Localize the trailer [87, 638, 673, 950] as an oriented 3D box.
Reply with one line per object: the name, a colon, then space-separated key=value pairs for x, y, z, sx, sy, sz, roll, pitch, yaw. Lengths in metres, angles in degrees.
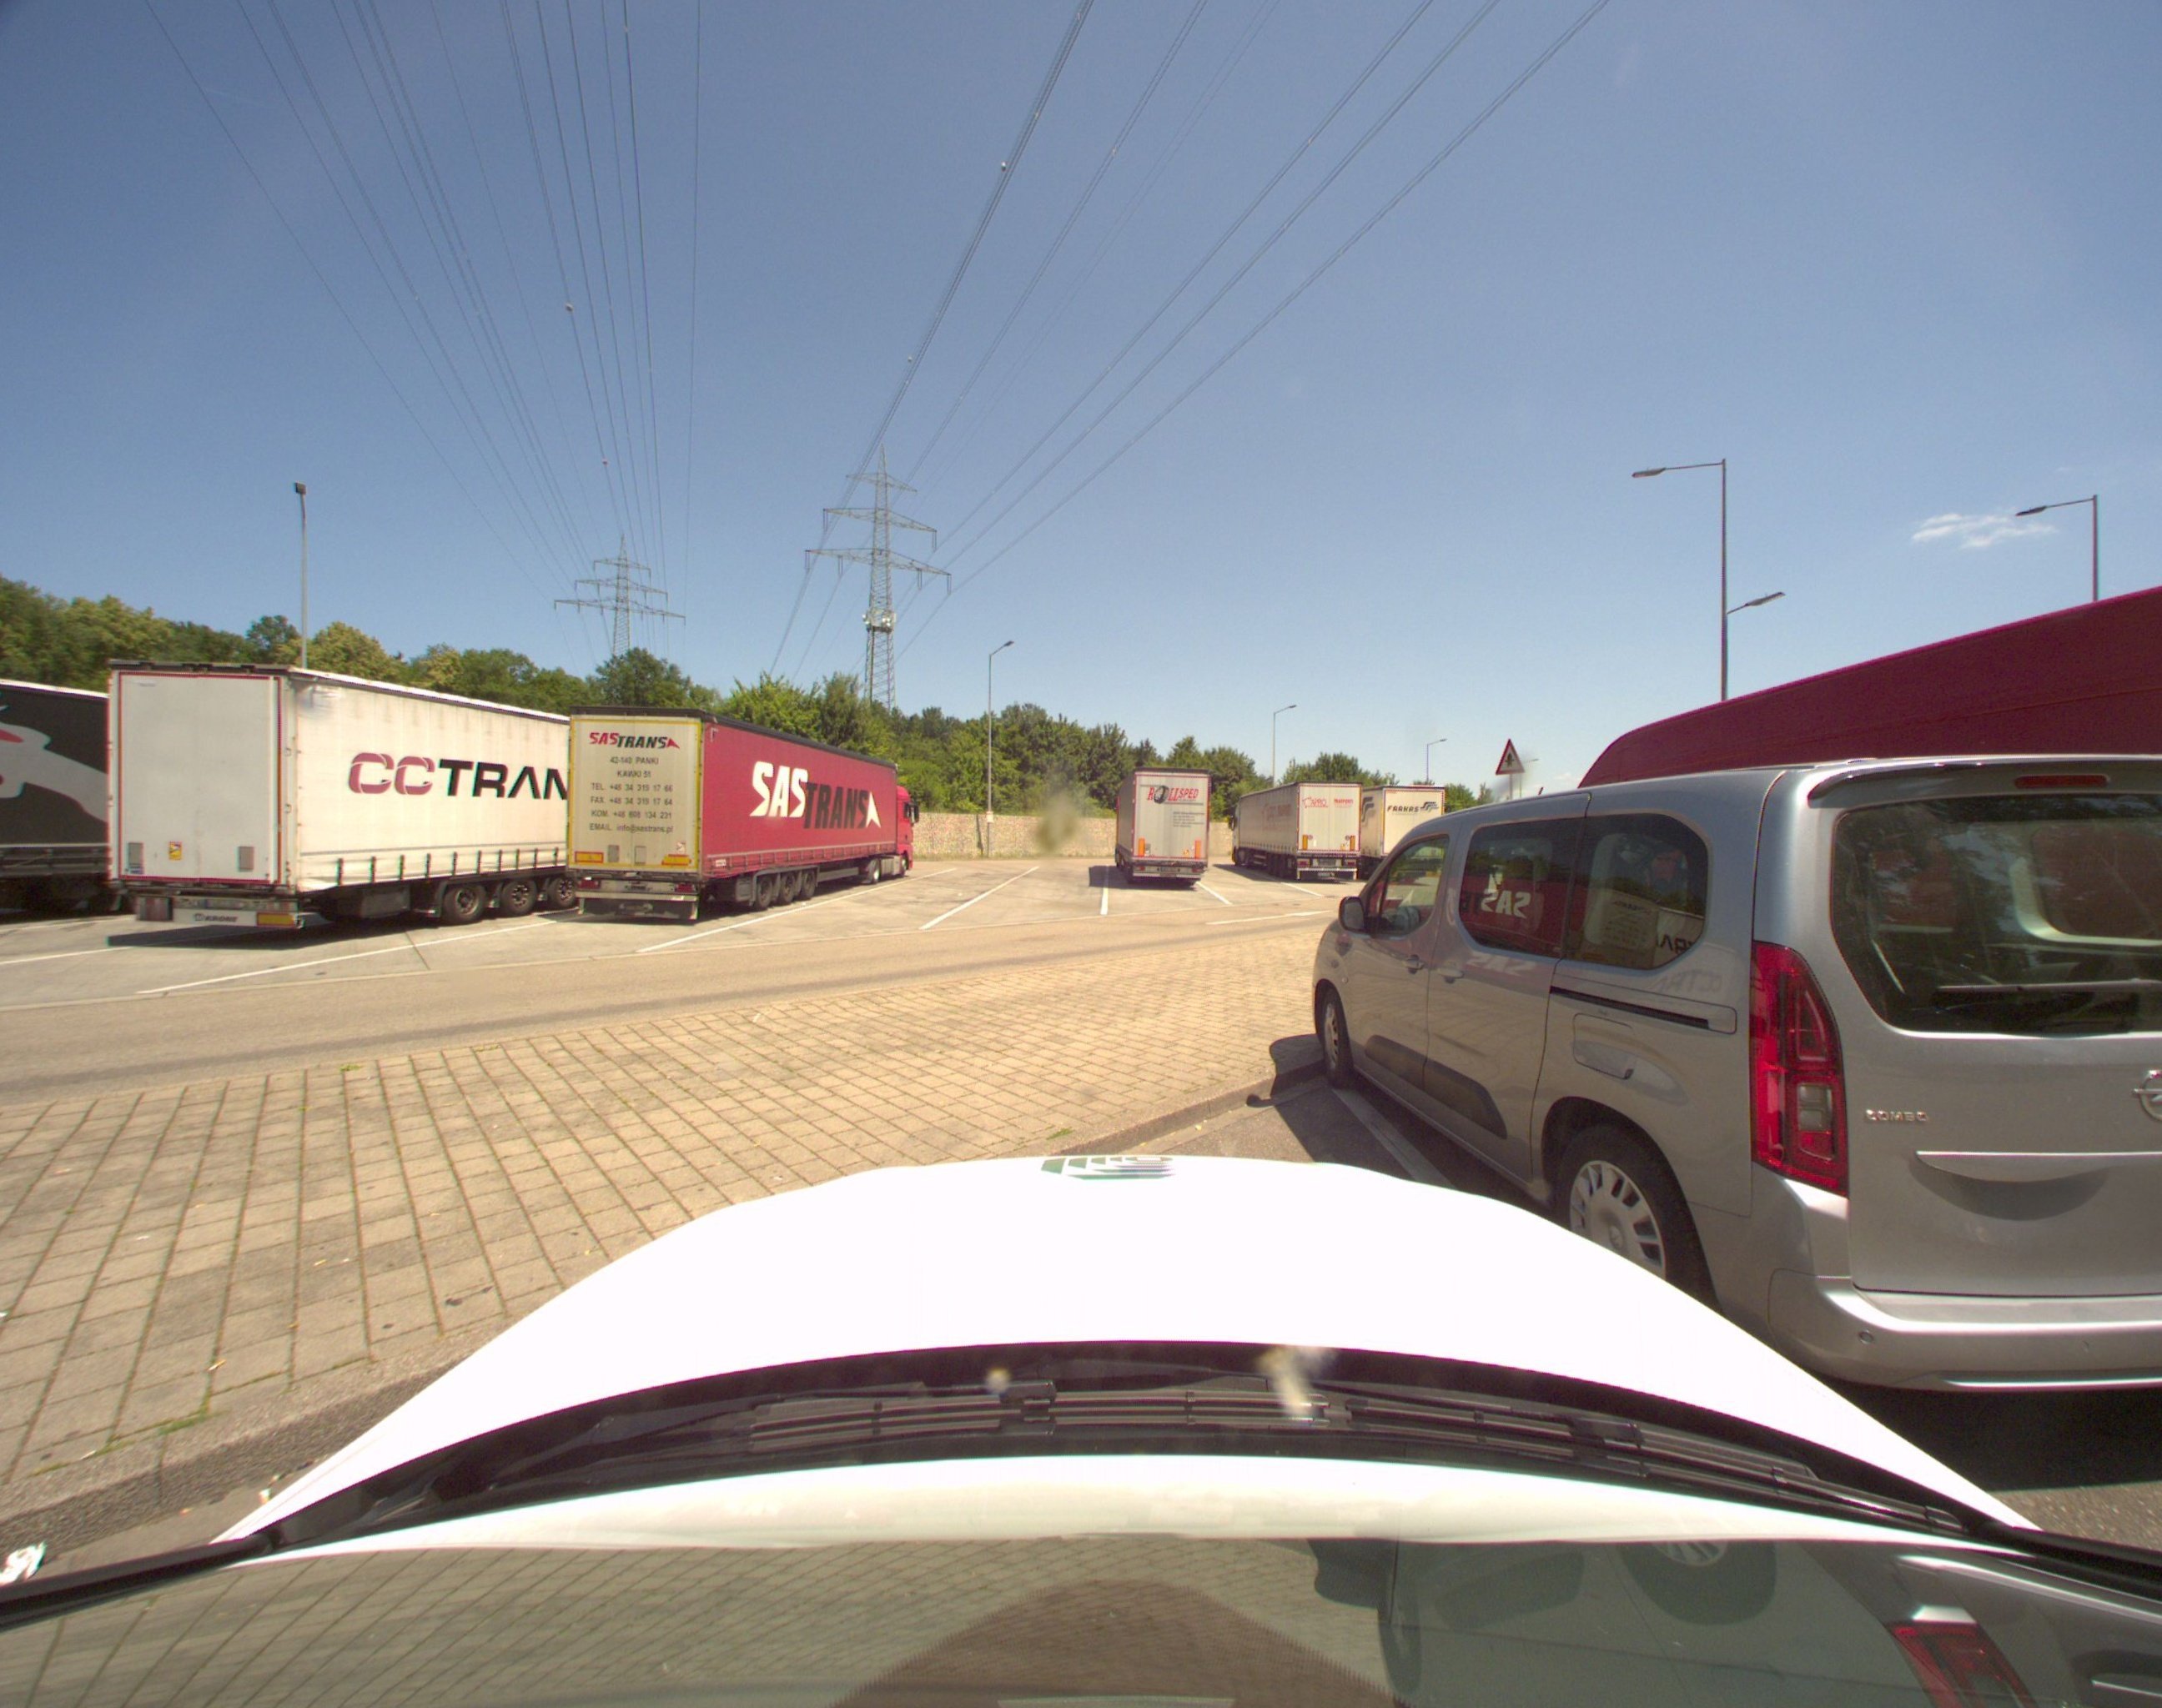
trailer: x=-12.102 y=-0.896 z=16.086 sx=2.734 sy=4.263 sz=9.740 roll=0 pitch=1 yaw=3

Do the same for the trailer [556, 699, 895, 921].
trailer: x=-8.047 y=-0.919 z=21.608 sx=2.739 sy=4.057 sz=13.292 roll=-1 pitch=1 yaw=2

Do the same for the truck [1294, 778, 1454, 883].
truck: x=13.570 y=-1.056 z=39.671 sx=2.894 sy=4.124 sz=14.533 roll=2 pitch=1 yaw=2

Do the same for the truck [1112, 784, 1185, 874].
truck: x=3.122 y=-1.222 z=39.527 sx=3.016 sy=3.928 sz=6.848 roll=1 pitch=2 yaw=1

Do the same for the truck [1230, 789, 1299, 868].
truck: x=10.122 y=-1.394 z=45.429 sx=2.747 sy=4.124 sz=5.286 roll=-1 pitch=1 yaw=2

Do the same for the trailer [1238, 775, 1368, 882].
trailer: x=9.935 y=-1.103 z=38.426 sx=2.865 sy=4.124 sz=13.577 roll=0 pitch=1 yaw=2

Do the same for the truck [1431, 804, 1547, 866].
truck: x=24.456 y=-1.127 z=49.454 sx=3.013 sy=3.437 sz=8.534 roll=-1 pitch=1 yaw=2

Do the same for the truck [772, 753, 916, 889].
truck: x=-7.843 y=-1.052 z=28.030 sx=2.733 sy=4.081 sz=6.832 roll=-1 pitch=1 yaw=1

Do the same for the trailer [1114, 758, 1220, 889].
trailer: x=3.041 y=-1.187 z=32.754 sx=3.059 sy=4.227 sz=12.811 roll=1 pitch=2 yaw=1

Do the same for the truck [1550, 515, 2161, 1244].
truck: x=5.098 y=0.053 z=4.889 sx=1.983 sy=2.623 sz=5.312 roll=0 pitch=1 yaw=6

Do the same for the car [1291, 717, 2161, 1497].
car: x=2.468 y=0.532 z=3.867 sx=1.821 sy=1.753 sz=3.998 roll=-1 pitch=1 yaw=-2

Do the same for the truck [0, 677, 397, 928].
truck: x=-18.514 y=-0.857 z=15.979 sx=2.627 sy=4.018 sz=8.640 roll=-1 pitch=1 yaw=2
